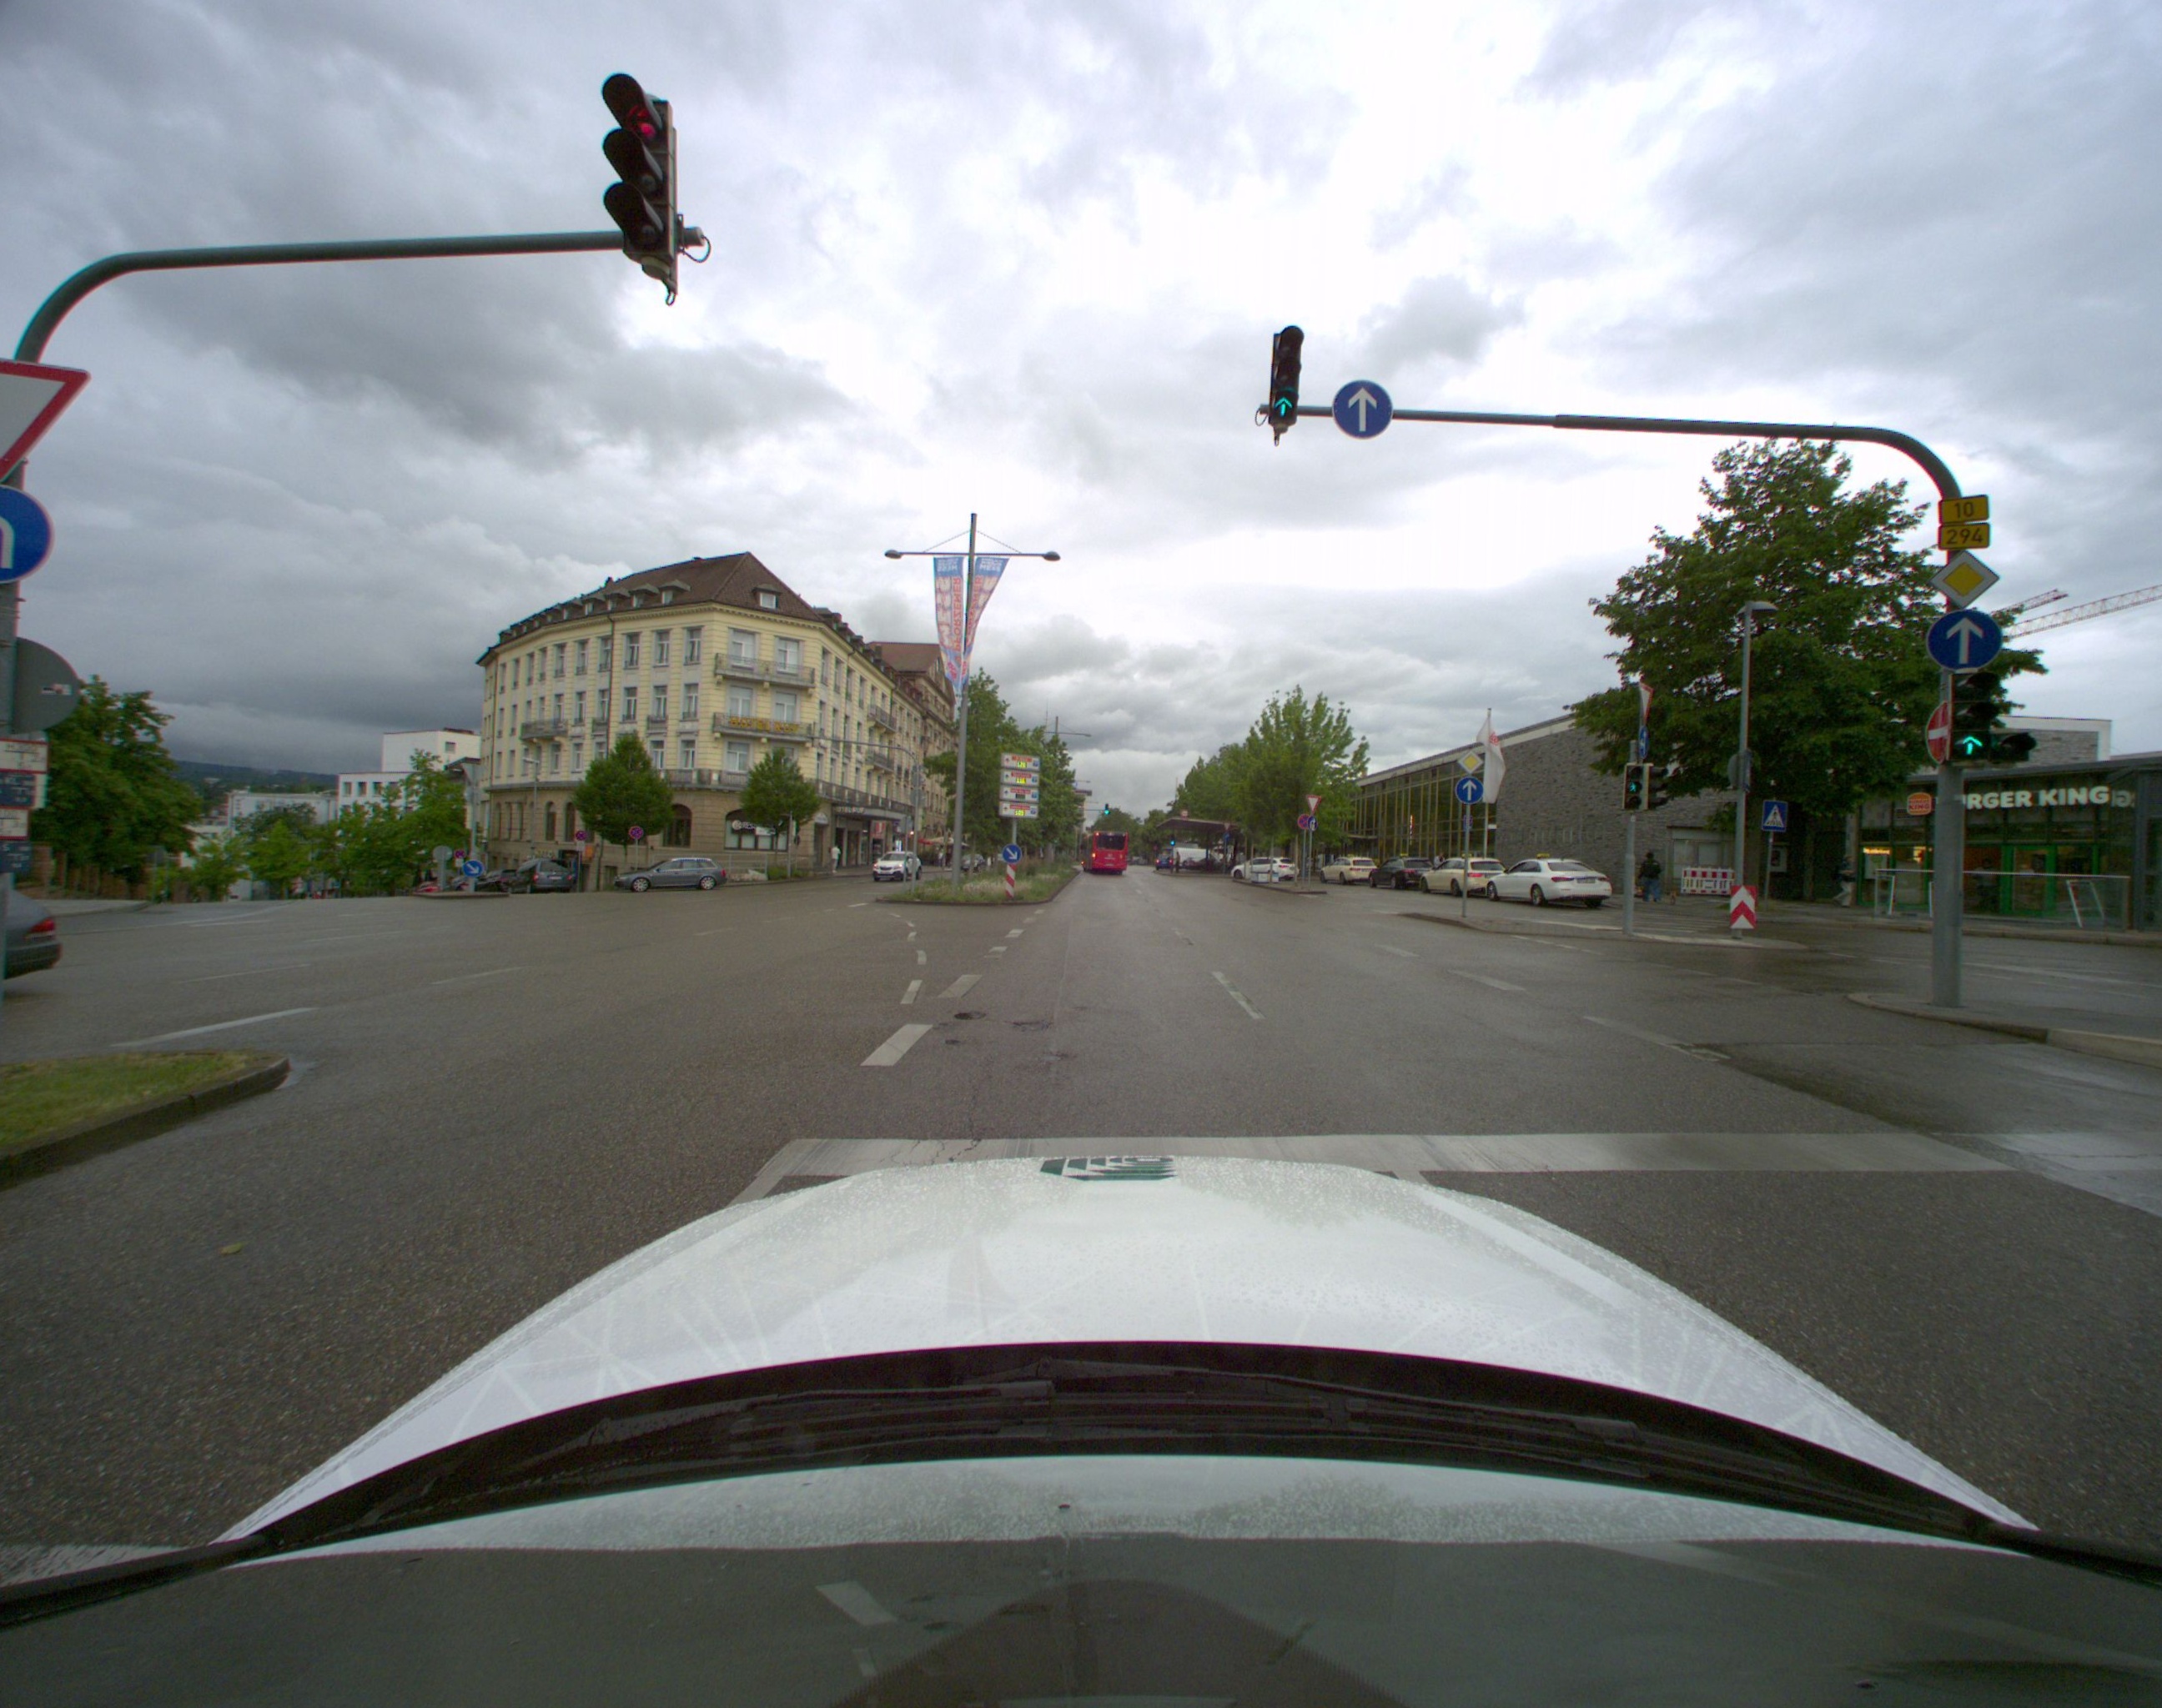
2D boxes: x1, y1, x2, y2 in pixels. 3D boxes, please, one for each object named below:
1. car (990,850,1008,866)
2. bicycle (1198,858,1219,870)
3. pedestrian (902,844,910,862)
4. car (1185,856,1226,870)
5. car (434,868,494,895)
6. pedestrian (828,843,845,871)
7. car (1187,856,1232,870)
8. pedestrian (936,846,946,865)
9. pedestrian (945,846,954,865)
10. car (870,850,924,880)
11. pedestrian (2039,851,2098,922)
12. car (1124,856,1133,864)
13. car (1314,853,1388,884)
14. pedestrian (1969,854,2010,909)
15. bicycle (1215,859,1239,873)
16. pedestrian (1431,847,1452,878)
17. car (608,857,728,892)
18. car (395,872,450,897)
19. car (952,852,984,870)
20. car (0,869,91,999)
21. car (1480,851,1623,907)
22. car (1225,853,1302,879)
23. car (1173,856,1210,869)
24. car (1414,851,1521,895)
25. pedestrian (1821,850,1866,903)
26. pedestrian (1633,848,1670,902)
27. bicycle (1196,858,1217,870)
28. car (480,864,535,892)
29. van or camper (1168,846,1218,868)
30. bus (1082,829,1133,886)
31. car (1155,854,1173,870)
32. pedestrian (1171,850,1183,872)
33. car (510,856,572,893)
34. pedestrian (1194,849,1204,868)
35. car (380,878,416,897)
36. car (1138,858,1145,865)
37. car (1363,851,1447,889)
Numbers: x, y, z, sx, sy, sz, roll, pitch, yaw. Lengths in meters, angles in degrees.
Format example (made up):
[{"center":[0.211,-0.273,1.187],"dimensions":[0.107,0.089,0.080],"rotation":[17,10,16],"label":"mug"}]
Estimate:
[{"center":[-8.337,0.425,82.630],"dimensions":[1.674,1.512,3.858],"rotation":[0,-1,-4],"label":"car"},{"center":[11.158,0.905,71.436],"dimensions":[1.831,1.056,0.418],"rotation":[0,-1,-17],"label":"bicycle"},{"center":[-16.208,-0.058,75.296],"dimensions":[0.666,1.664,0.535],"rotation":[0,-1,-7],"label":"pedestrian"},{"center":[13.101,0.937,85.857],"dimensions":[4.010,1.359,1.847],"rotation":[1,-1,-29],"label":"car"},{"center":[-36.299,1.587,47.900],"dimensions":[3.948,1.478,1.781],"rotation":[-1,-1,37],"label":"car"},{"center":[-15.856,0.200,52.842],"dimensions":[0.876,1.813,0.751],"rotation":[0,-1,1],"label":"pedestrian"},{"center":[12.957,0.911,82.191],"dimensions":[4.197,1.325,1.829],"rotation":[1,-1,-18],"label":"car"},{"center":[-12.754,0.140,74.336],"dimensions":[0.678,1.664,0.808],"rotation":[0,-1,5],"label":"pedestrian"},{"center":[-12.008,0.126,74.355],"dimensions":[0.679,1.664,0.807],"rotation":[0,-1,2],"label":"pedestrian"},{"center":[-10.300,0.619,45.824],"dimensions":[1.948,1.618,4.210],"rotation":[0,-1,2],"label":"car"},{"center":[24.769,0.794,20.437],"dimensions":[0.646,1.666,0.772],"rotation":[-6,4,-20],"label":"pedestrian"},{"center":[9.427,1.261,161.669],"dimensions":[1.589,1.561,3.652],"rotation":[0,-1,2],"label":"car"},{"center":[14.666,0.751,44.503],"dimensions":[1.991,1.599,4.948],"rotation":[0,0,-6],"label":"car"},{"center":[27.906,0.829,25.031],"dimensions":[0.713,1.667,0.802],"rotation":[-1,-1,40],"label":"pedestrian"},{"center":[11.269,0.913,62.892],"dimensions":[1.821,1.056,0.420],"rotation":[0,-1,1],"label":"bicycle"},{"center":[18.912,0.446,42.765],"dimensions":[0.766,1.580,0.710],"rotation":[0,-1,-2],"label":"pedestrian"},{"center":[-18.130,0.855,35.877],"dimensions":[4.474,1.465,1.680],"rotation":[0,-1,-40],"label":"car"},{"center":[-41.437,1.895,51.240],"dimensions":[3.958,1.478,1.781],"rotation":[-1,-1,37],"label":"car"},{"center":[-8.980,0.548,65.030],"dimensions":[1.948,1.422,4.001],"rotation":[0,-1,1],"label":"car"},{"center":[-13.222,0.903,7.863],"dimensions":[1.687,1.465,4.457],"rotation":[0,0,4],"label":"car"},{"center":[14.719,0.737,25.867],"dimensions":[1.872,1.599,4.905],"rotation":[0,0,2],"label":"car"},{"center":[11.411,0.738,51.179],"dimensions":[1.772,1.546,4.723],"rotation":[1,-1,-38],"label":"car"},{"center":[13.136,1.023,96.607],"dimensions":[4.006,1.443,1.849],"rotation":[1,-1,-25],"label":"car"},{"center":[14.902,0.681,31.766],"dimensions":[1.986,1.599,4.961],"rotation":[0,0,2],"label":"car"},{"center":[24.278,0.715,25.935],"dimensions":[0.715,1.667,0.800],"rotation":[-1,-1,12],"label":"pedestrian"},{"center":[17.568,0.628,25.079],"dimensions":[0.727,1.626,0.788],"rotation":[0,-1,-43],"label":"pedestrian"},{"center":[11.061,0.910,71.885],"dimensions":[1.831,1.056,0.418],"rotation":[0,-1,-17],"label":"bicycle"},{"center":[-31.797,1.293,45.101],"dimensions":[3.949,1.398,1.645],"rotation":[0,0,42],"label":"car"},{"center":[14.119,0.342,102.650],"dimensions":[5.976,2.763,2.180],"rotation":[0,-1,-26],"label":"van or camper"},{"center":[1.866,0.288,63.666],"dimensions":[3.534,3.979,11.167],"rotation":[0,-1,-1],"label":"bus"},{"center":[8.712,0.865,85.402],"dimensions":[1.849,1.569,4.006],"rotation":[1,-1,6],"label":"car"},{"center":[7.880,0.592,66.861],"dimensions":[0.745,1.747,0.834],"rotation":[1,-1,-7],"label":"pedestrian"},{"center":[-27.074,0.987,40.810],"dimensions":[3.949,1.759,1.645],"rotation":[0,0,42],"label":"car"},{"center":[11.729,0.424,81.050],"dimensions":[0.853,1.835,1.190],"rotation":[0,-1,1],"label":"pedestrian"},{"center":[-55.396,2.700,66.064],"dimensions":[3.949,1.478,1.781],"rotation":[-1,-1,43],"label":"car"},{"center":[16.036,2.033,216.130],"dimensions":[1.638,1.661,3.652],"rotation":[0,-1,2],"label":"car"},{"center":[14.937,0.702,37.853],"dimensions":[1.987,1.599,4.958],"rotation":[1,0,1],"label":"car"}]
